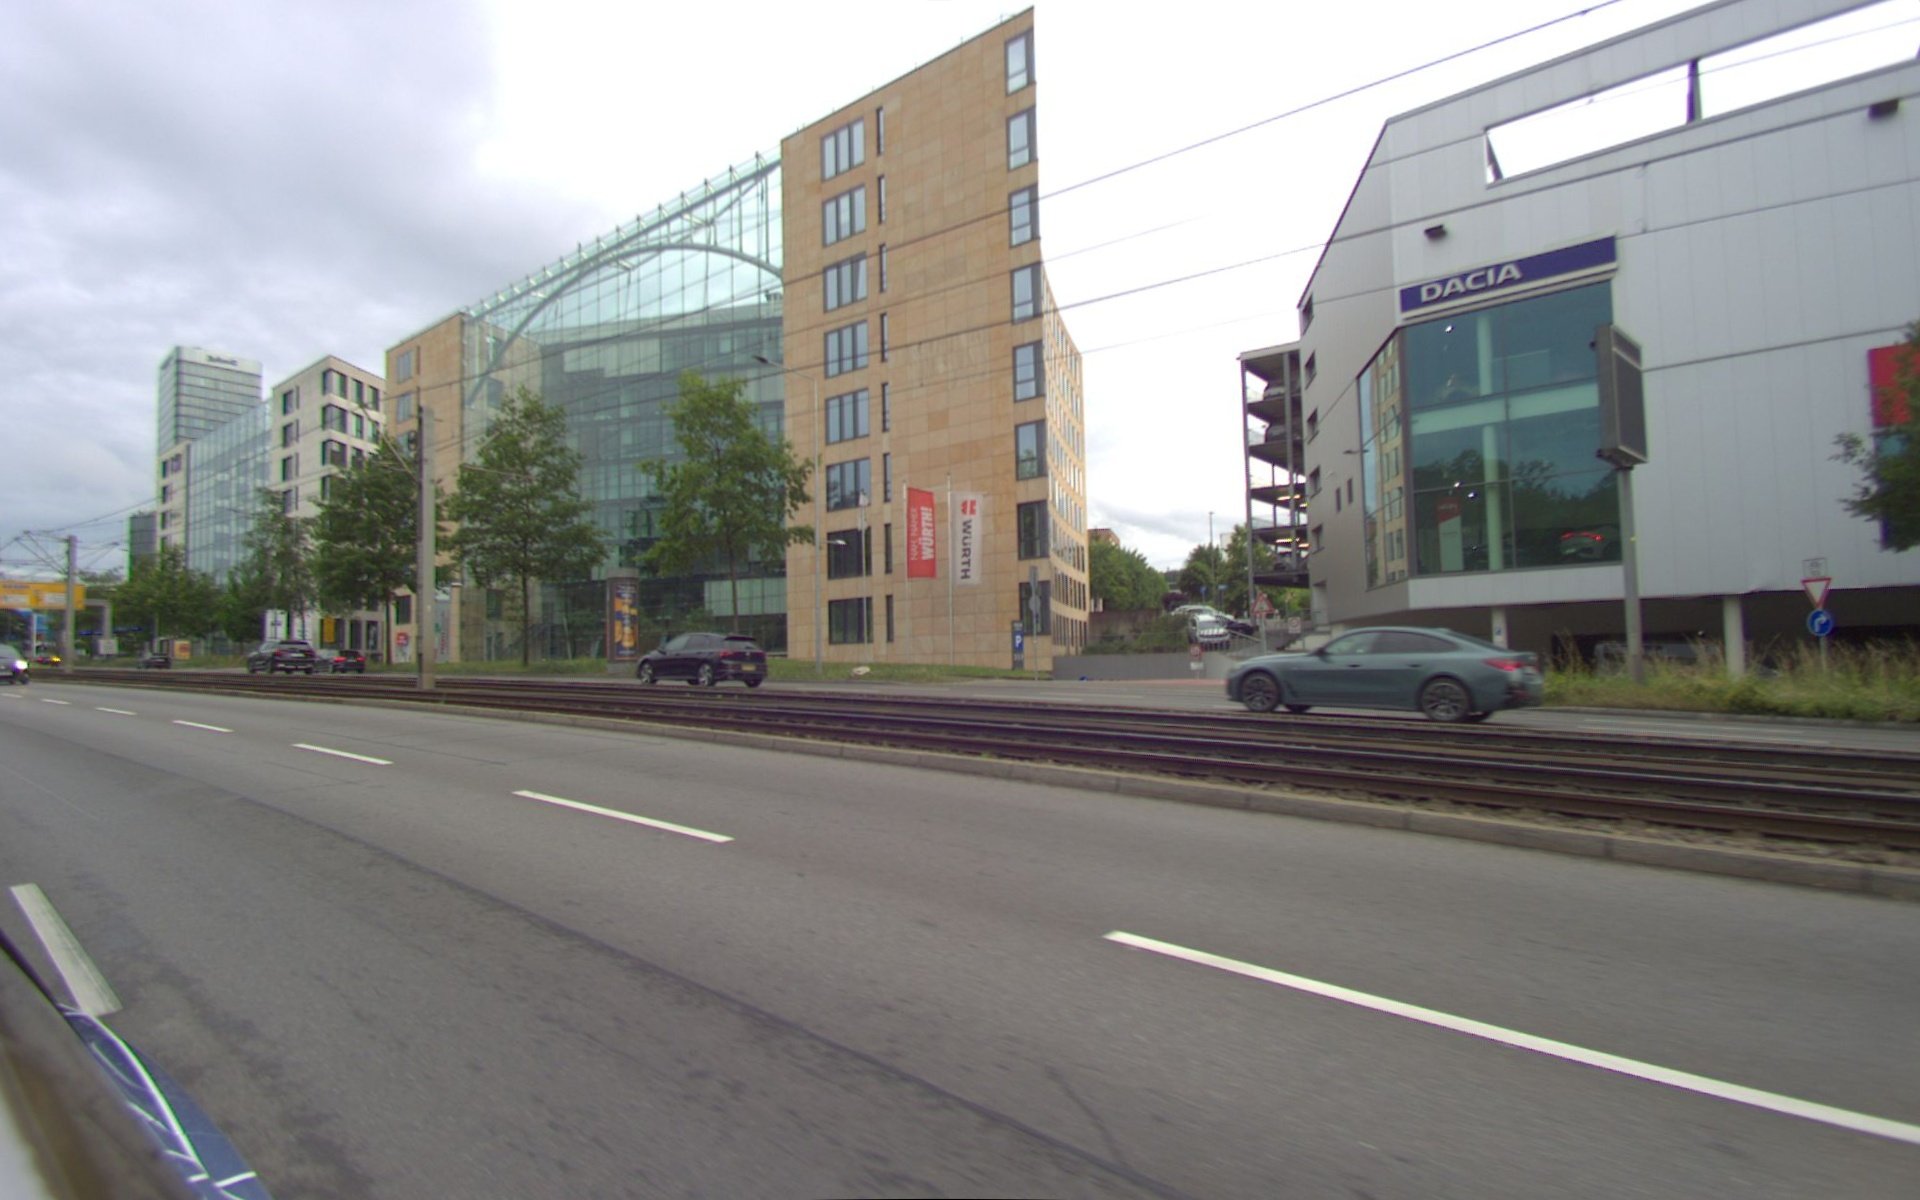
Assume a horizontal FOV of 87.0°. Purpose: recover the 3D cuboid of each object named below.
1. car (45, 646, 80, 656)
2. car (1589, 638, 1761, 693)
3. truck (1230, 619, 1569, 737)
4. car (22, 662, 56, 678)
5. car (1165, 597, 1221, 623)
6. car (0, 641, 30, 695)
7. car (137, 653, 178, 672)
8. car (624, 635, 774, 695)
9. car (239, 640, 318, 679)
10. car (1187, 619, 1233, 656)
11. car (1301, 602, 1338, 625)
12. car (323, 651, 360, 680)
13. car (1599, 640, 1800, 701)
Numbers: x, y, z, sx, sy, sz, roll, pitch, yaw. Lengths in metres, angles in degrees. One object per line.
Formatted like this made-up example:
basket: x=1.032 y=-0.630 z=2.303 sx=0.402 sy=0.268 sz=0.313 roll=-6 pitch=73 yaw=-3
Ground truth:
car: x=-153.443 y=8.758 z=173.042 sx=1.884 sy=1.515 sz=4.308 roll=-1 pitch=-1 yaw=40
car: x=25.708 y=2.312 z=36.529 sx=4.933 sy=1.805 sz=1.975 roll=-2 pitch=-2 yaw=38
truck: x=6.858 y=1.139 z=16.087 sx=4.591 sy=1.580 sz=1.921 roll=0 pitch=-3 yaw=41
car: x=-93.911 y=7.137 z=103.204 sx=4.648 sy=1.497 sz=1.823 roll=-3 pitch=-7 yaw=39
car: x=17.093 y=0.731 z=74.415 sx=3.959 sy=1.776 sz=1.876 roll=2 pitch=0 yaw=12
car: x=-36.434 y=2.528 z=37.937 sx=4.373 sy=1.883 sz=1.771 roll=-1 pitch=-1 yaw=40
car: x=-70.256 y=5.491 z=88.565 sx=4.425 sy=1.497 sz=1.823 roll=-3 pitch=-7 yaw=39
car: x=-7.092 y=1.723 z=27.320 sx=4.232 sy=1.473 sz=1.651 roll=-1 pitch=-4 yaw=38
car: x=-31.750 y=2.721 z=47.081 sx=4.379 sy=1.628 sz=1.788 roll=-1 pitch=-1 yaw=38
car: x=14.057 y=2.066 z=57.091 sx=1.860 sy=1.908 sz=3.993 roll=2 pitch=0 yaw=6
car: x=27.669 y=1.064 z=77.832 sx=1.908 sy=1.699 sz=3.847 roll=2 pitch=0 yaw=32
car: x=-36.561 y=3.829 z=59.805 sx=1.645 sy=1.473 sz=4.249 roll=0 pitch=-1 yaw=-34
car: x=23.165 y=2.141 z=31.836 sx=4.936 sy=1.738 sz=1.973 roll=-2 pitch=-2 yaw=40
